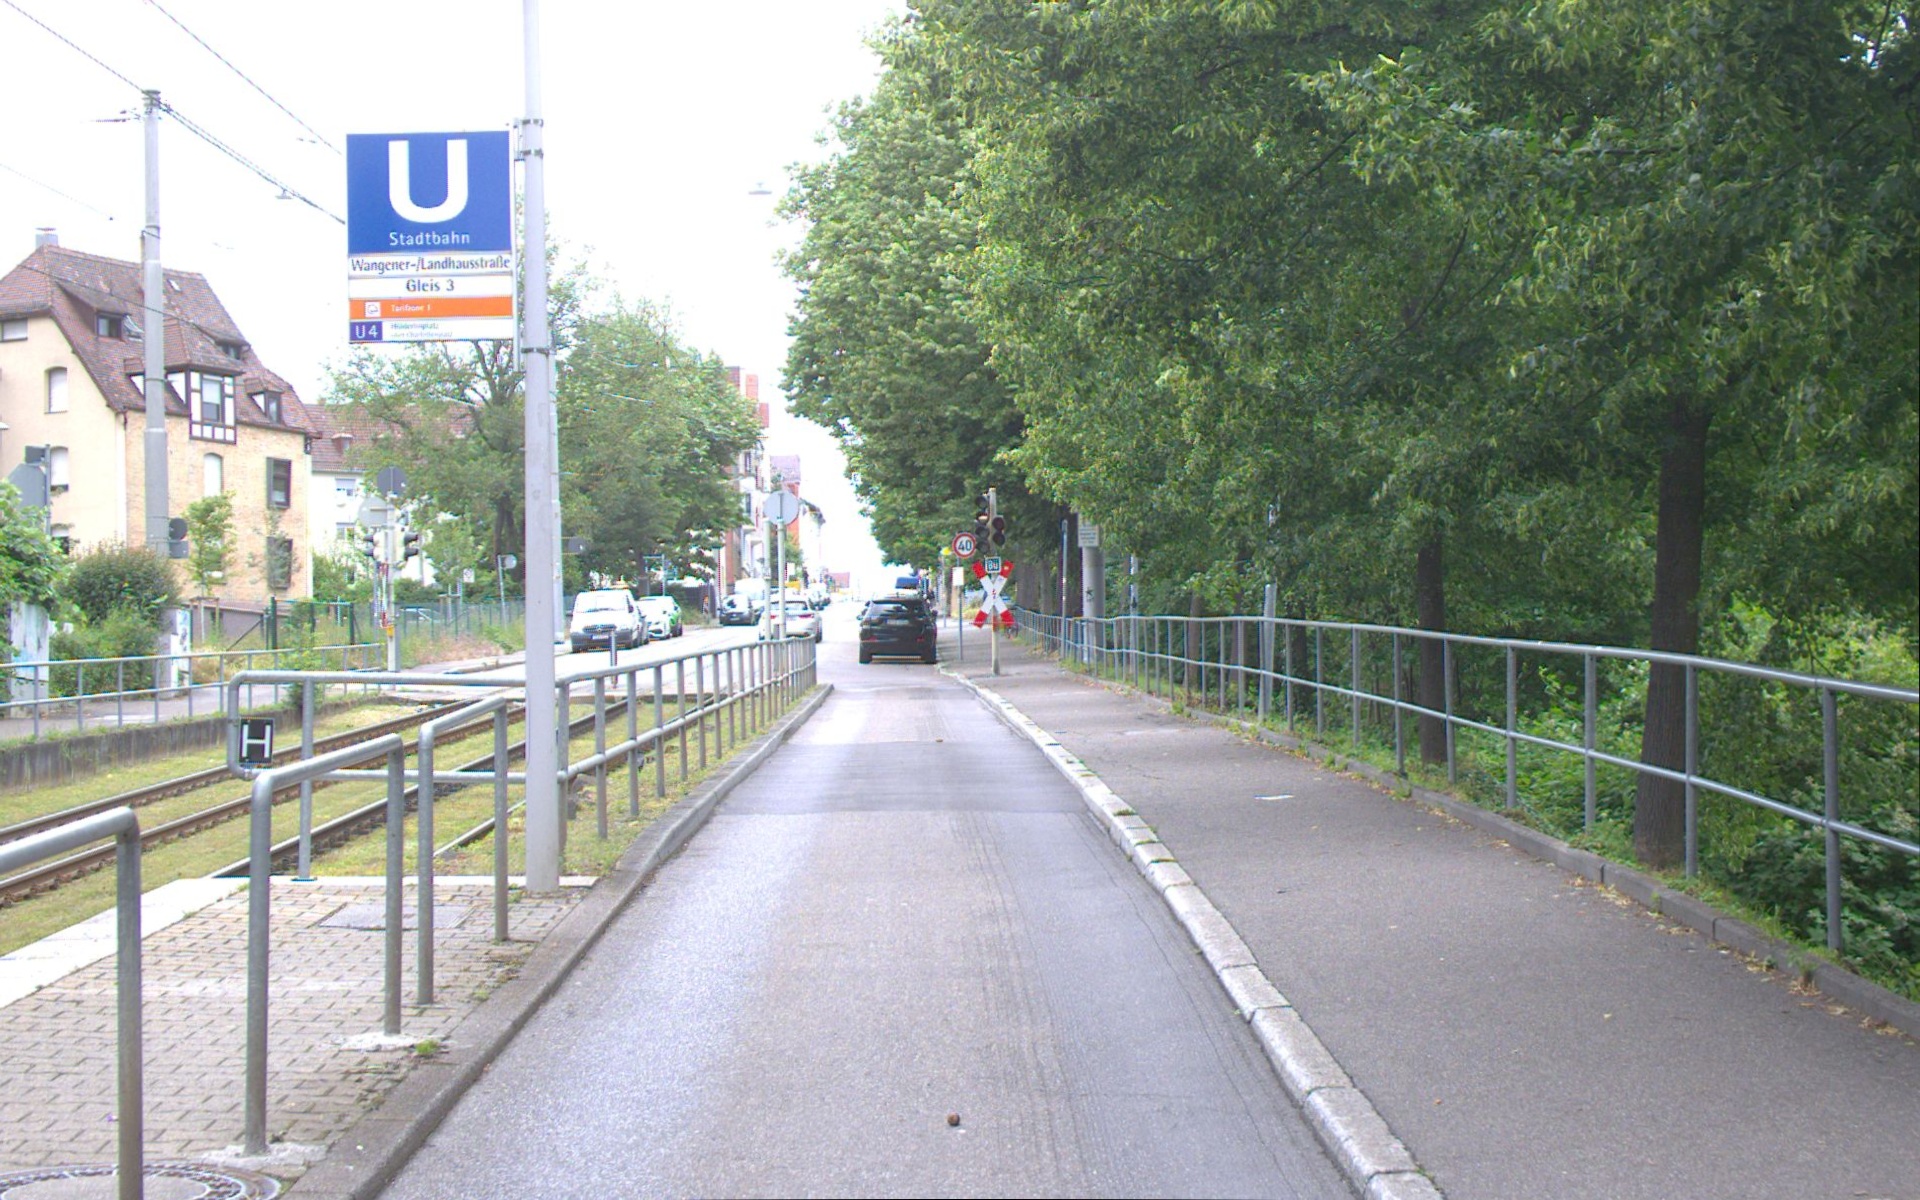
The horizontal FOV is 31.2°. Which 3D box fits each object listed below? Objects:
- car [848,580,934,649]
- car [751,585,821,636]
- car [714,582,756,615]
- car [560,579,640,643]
[{"bbox_3d":[-1.628,0.329,82.331,1.904,1.609,4.600,0,0,1],"label":"car"},{"bbox_3d":[-5.338,0.326,105.815,1.993,1.493,4.312,1,-1,-1],"label":"car"},{"bbox_3d":[-12.314,-0.075,188.489,1.993,1.802,4.000,0,-1,1],"label":"car"},{"bbox_3d":[-11.277,0.361,107.933,2.035,1.875,4.885,-3,0,-2],"label":"car"}]
